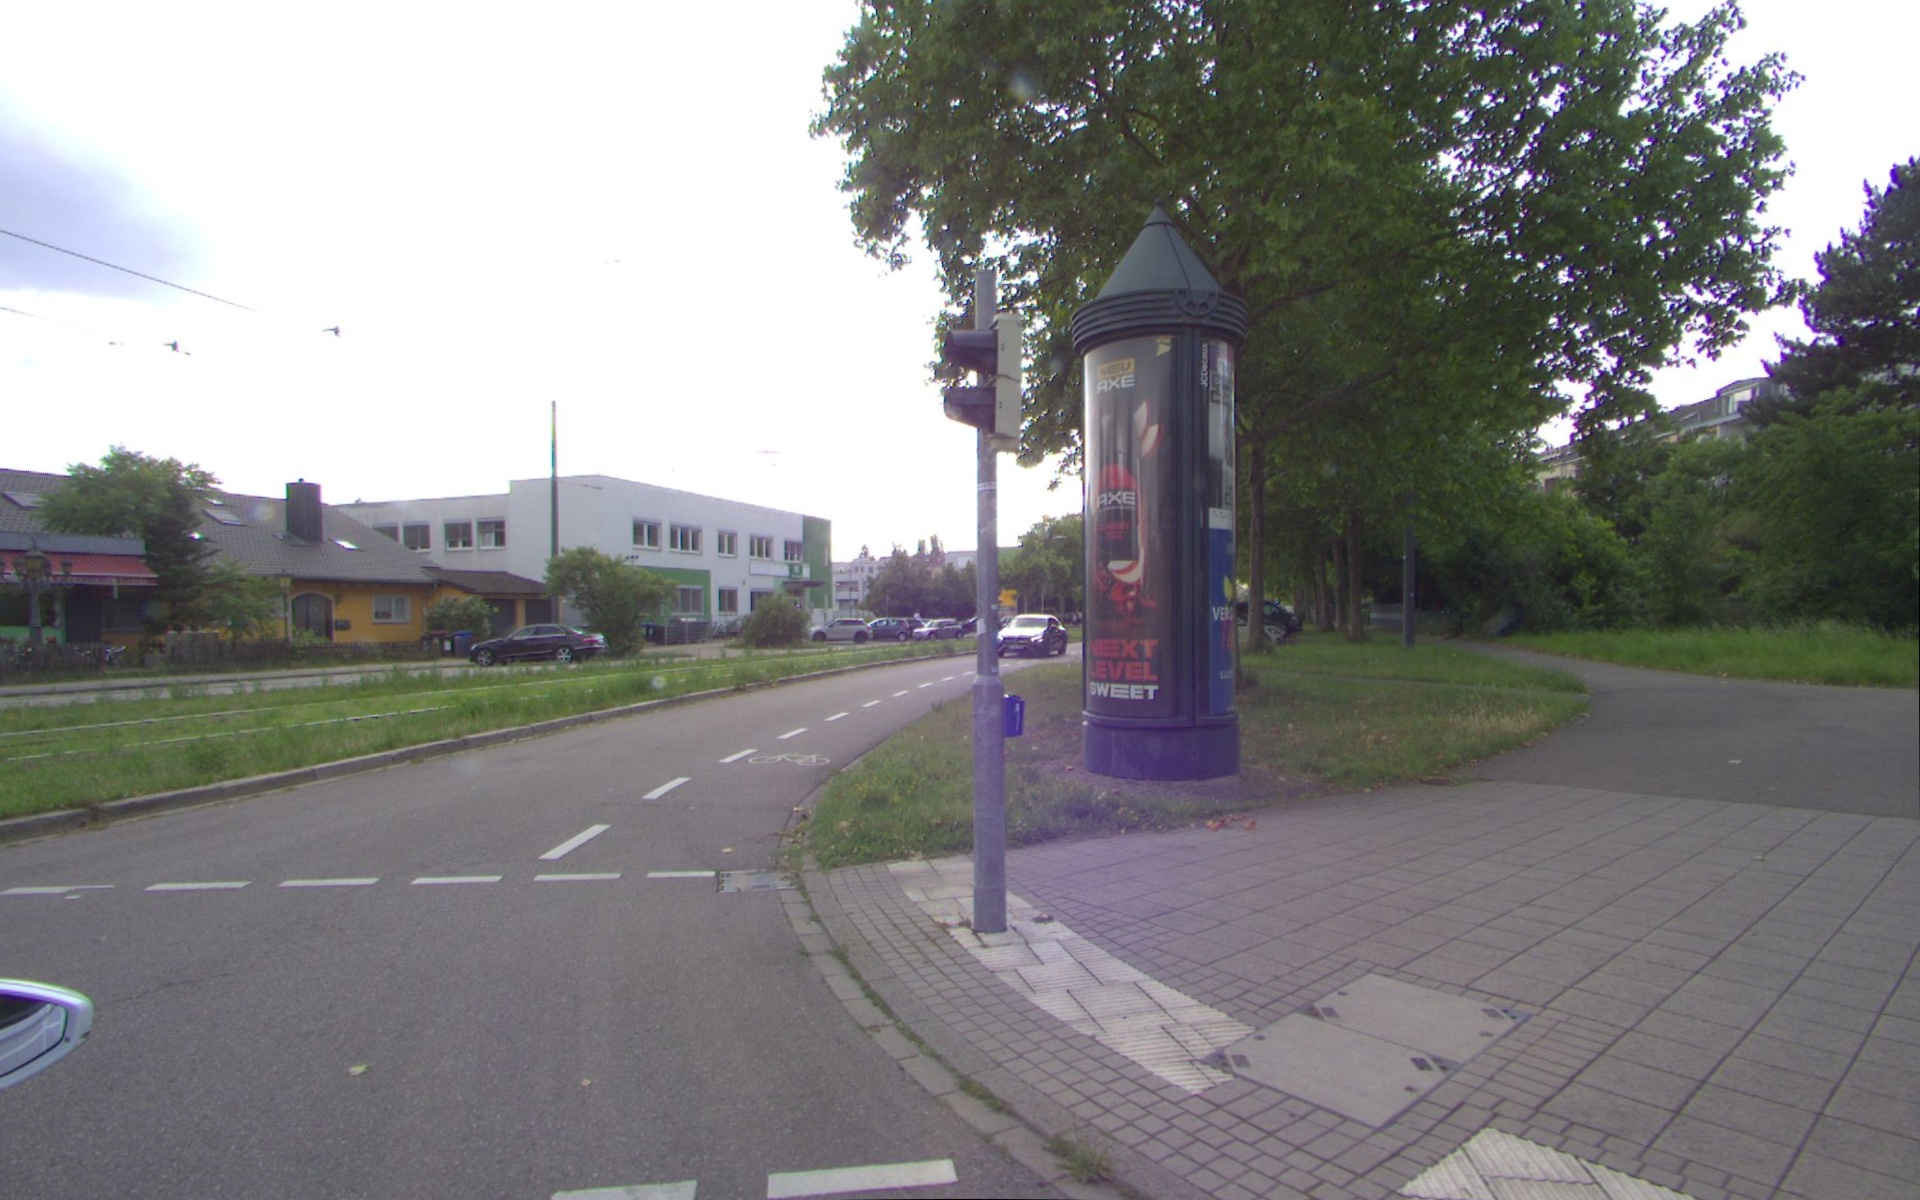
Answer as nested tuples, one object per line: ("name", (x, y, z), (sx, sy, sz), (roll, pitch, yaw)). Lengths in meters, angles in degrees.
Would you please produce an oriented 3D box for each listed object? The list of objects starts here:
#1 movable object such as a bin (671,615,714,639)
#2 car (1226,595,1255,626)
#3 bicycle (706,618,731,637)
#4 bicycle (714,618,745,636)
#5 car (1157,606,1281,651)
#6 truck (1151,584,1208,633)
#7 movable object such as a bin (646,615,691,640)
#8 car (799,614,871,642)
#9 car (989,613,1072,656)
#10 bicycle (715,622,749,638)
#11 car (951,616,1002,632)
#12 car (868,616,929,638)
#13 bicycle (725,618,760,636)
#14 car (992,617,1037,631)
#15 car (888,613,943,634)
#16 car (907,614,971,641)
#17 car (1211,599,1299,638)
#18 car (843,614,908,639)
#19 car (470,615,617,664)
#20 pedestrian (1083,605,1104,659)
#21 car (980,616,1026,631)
("movable object such as a bin", (-15.238, 1.550, 57.126), (1.353, 1.344, 2.126), (-1, 0, 23))
("car", (32.506, 1.260, 115.942), (2.921, 3.373, 7.449), (1, -1, 17))
("bicycle", (-15.575, 1.769, 64.494), (1.600, 1.181, 0.701), (-1, 0, 36))
("bicycle", (-14.531, 1.682, 63.093), (1.765, 1.096, 0.735), (-1, 0, 17))
("car", (9.903, 1.105, 38.311), (4.461, 1.665, 1.998), (-1, -2, 17))
("truck", (16.145, 0.630, 73.314), (3.138, 3.361, 7.508), (-1, -1, 20))
("movable object such as a bin", (-16.049, 1.500, 55.098), (1.353, 1.344, 2.111), (-1, 0, 23))
("car", (-7.721, 1.726, 61.743), (4.236, 1.650, 1.900), (0, 0, -14))
("car", (2.561, 1.174, 35.368), (1.808, 1.411, 4.598), (0, -1, 19))
("bicycle", (-15.011, 1.974, 65.919), (2.123, 0.983, 0.729), (-1, 0, 24))
("car", (1.437, 2.072, 86.756), (4.232, 1.381, 1.902), (0, 0, -5))
("car", (-4.339, 1.857, 70.256), (4.091, 1.523, 1.860), (0, -1, -8))
("bicycle", (-14.502, 1.798, 66.702), (2.313, 1.181, 0.758), (-1, 0, 25))
("car", (5.427, 2.364, 99.752), (4.231, 1.381, 1.902), (0, 0, -3))
("car", (-3.394, 1.772, 76.357), (4.089, 1.523, 1.861), (0, 0, -3))
("car", (-1.343, 1.781, 65.494), (1.880, 1.650, 4.281), (0, -1, 40))
("car", (16.120, 1.033, 54.672), (4.477, 2.039, 1.996), (-1, -1, 20))
("car", (-5.700, 1.761, 67.456), (4.233, 1.650, 1.901), (0, 0, -9))
("car", (-15.174, 1.418, 36.676), (4.490, 1.601, 2.000), (-2, 0, -1))
("pedestrian", (4.279, 1.018, 32.057), (0.577, 1.706, 0.493), (0, 0, 18))
("car", (4.137, 2.289, 96.692), (4.231, 1.381, 1.902), (0, 0, -3))
